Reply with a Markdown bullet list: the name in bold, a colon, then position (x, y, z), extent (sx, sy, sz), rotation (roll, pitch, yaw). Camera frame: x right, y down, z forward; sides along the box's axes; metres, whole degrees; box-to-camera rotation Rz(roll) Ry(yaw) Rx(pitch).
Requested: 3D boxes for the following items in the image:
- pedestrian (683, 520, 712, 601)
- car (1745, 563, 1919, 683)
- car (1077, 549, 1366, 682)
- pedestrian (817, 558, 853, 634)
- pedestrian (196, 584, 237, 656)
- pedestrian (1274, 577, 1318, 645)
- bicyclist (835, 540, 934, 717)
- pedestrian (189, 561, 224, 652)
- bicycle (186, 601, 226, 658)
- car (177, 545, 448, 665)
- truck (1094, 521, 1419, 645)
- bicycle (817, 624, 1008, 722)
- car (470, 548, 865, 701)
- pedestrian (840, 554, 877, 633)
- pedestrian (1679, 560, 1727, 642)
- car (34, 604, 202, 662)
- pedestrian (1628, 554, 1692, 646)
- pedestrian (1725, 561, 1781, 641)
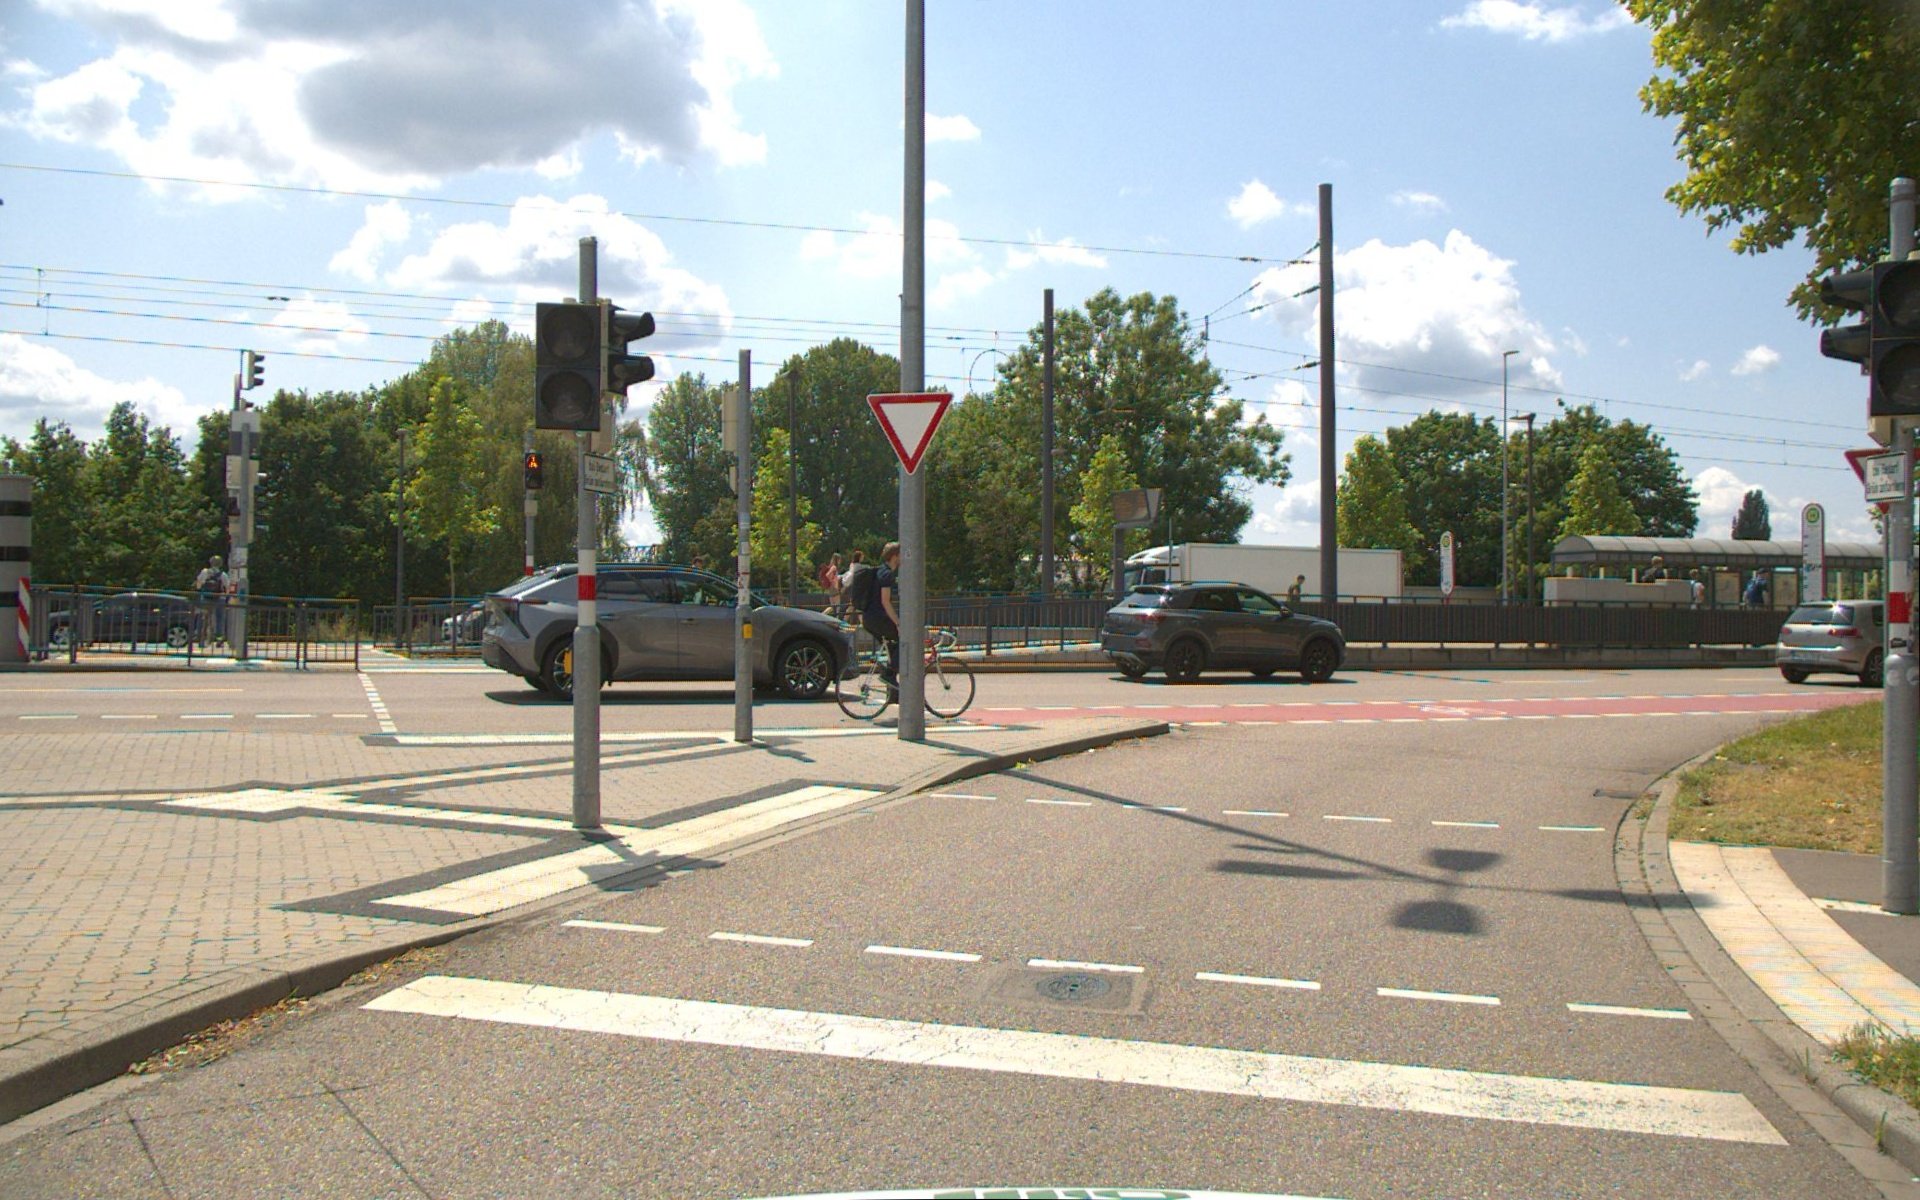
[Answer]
- **pedestrian**: position (-5.725, -0.851, 36.043), extent (0.515, 1.751, 0.726), rotation (0, 0, -19)
- **car**: position (16.400, 0.375, 29.580), extent (4.292, 2.024, 1.985), rotation (0, 0, -24)
- **car**: position (4.262, 0.239, 26.999), extent (4.291, 2.024, 1.985), rotation (1, 1, -24)
- **pedestrian**: position (-2.903, -0.097, 38.417), extent (0.696, 1.751, 0.597), rotation (0, 0, -21)
- **pedestrian**: position (-21.712, 0.569, 48.288), extent (0.972, 2.049, 0.893), rotation (-1, 0, -32)
- **pedestrian**: position (9.176, 0.307, 45.149), extent (0.914, 1.839, 0.731), rotation (0, 0, -24)
- **bicyclist**: position (-0.828, 0.302, 18.022), extent (0.909, 1.878, 0.607), rotation (1, 0, -24)
- **pedestrian**: position (-15.155, 0.123, 33.270), extent (0.602, 1.800, 0.668), rotation (0, 0, -22)
- **bicycle**: position (-15.173, 0.575, 33.301), extent (0.610, 1.106, 1.711), rotation (0, 0, -21)
- **car**: position (-10.412, 0.046, 26.642), extent (3.937, 1.814, 1.895), rotation (-1, 1, -25)
- **truck**: position (10.716, -0.548, 59.322), extent (11.790, 4.176, 2.933), rotation (0, 0, -22)
- **bicycle**: position (-0.516, 0.801, 18.162), extent (1.990, 1.016, 0.617), rotation (2, 0, -24)
- **car**: position (-3.583, 0.309, 20.335), extent (4.449, 1.704, 1.888), rotation (1, 0, -26)
- **pedestrian**: position (-2.312, -0.143, 37.707), extent (0.666, 1.778, 0.633), rotation (1, 1, -21)
- **pedestrian**: position (17.387, 0.027, 38.704), extent (0.854, 1.904, 0.677), rotation (0, 0, 8)
- **car**: position (-21.989, 0.849, 43.225), extent (3.841, 1.433, 1.653), rotation (0, 0, -31)
- **pedestrian**: position (15.352, -0.010, 36.298), extent (0.978, 1.973, 0.869), rotation (0, 0, -25)
- **pedestrian**: position (17.838, 0.024, 37.202), extent (0.914, 1.786, 0.731), rotation (0, 0, -24)
